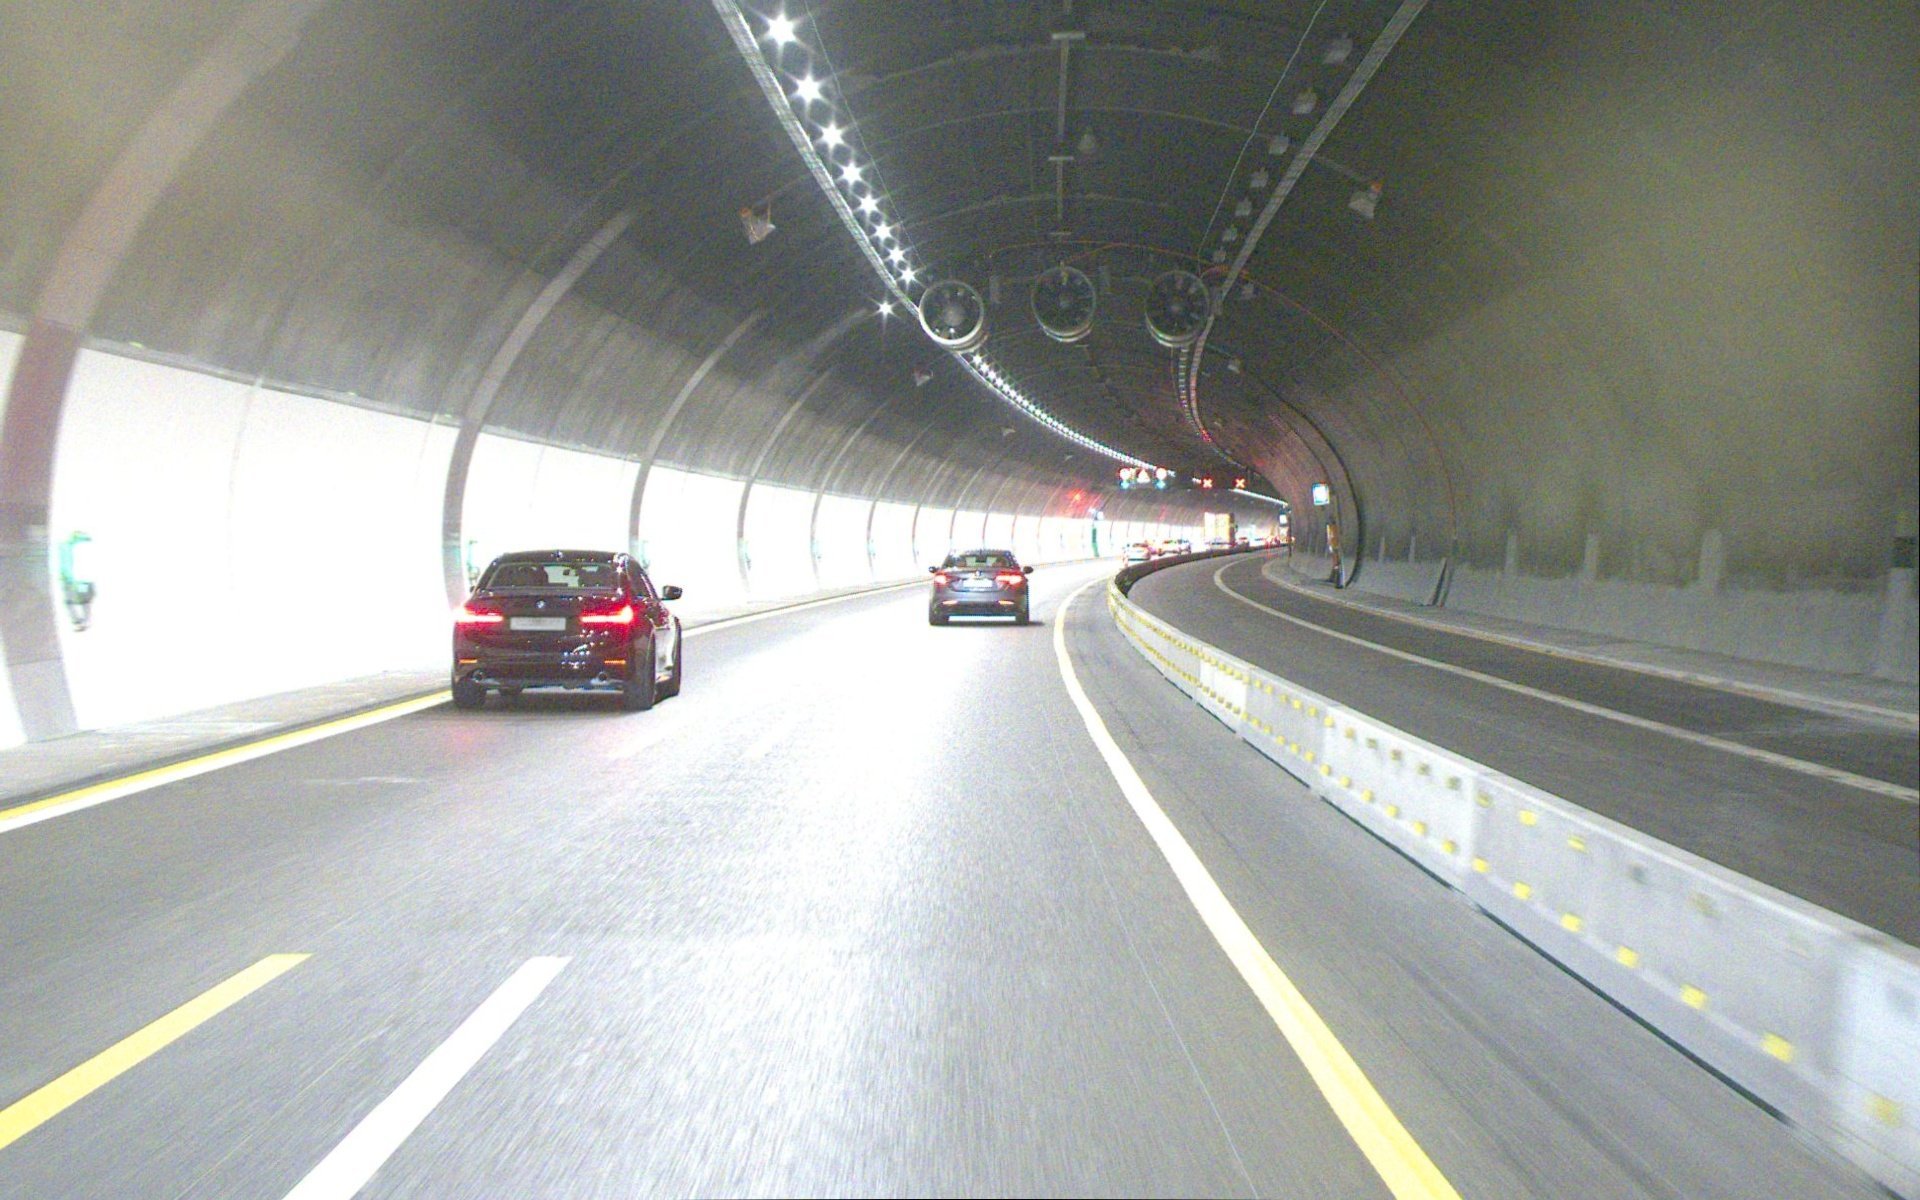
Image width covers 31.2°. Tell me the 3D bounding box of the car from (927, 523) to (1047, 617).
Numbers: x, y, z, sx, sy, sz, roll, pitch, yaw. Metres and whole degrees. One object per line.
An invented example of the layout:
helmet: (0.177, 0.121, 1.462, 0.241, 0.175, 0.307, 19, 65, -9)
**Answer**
car: (0.545, -0.593, 65.168, 2.141, 1.700, 4.000, 1, 1, 2)

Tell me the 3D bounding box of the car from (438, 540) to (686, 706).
car: (-3.709, 0.158, 32.772, 1.778, 1.433, 4.883, 1, 1, 0)

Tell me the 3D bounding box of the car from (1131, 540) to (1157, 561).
car: (11.962, -3.239, 222.932, 1.595, 1.328, 3.750, 1, 1, 4)
